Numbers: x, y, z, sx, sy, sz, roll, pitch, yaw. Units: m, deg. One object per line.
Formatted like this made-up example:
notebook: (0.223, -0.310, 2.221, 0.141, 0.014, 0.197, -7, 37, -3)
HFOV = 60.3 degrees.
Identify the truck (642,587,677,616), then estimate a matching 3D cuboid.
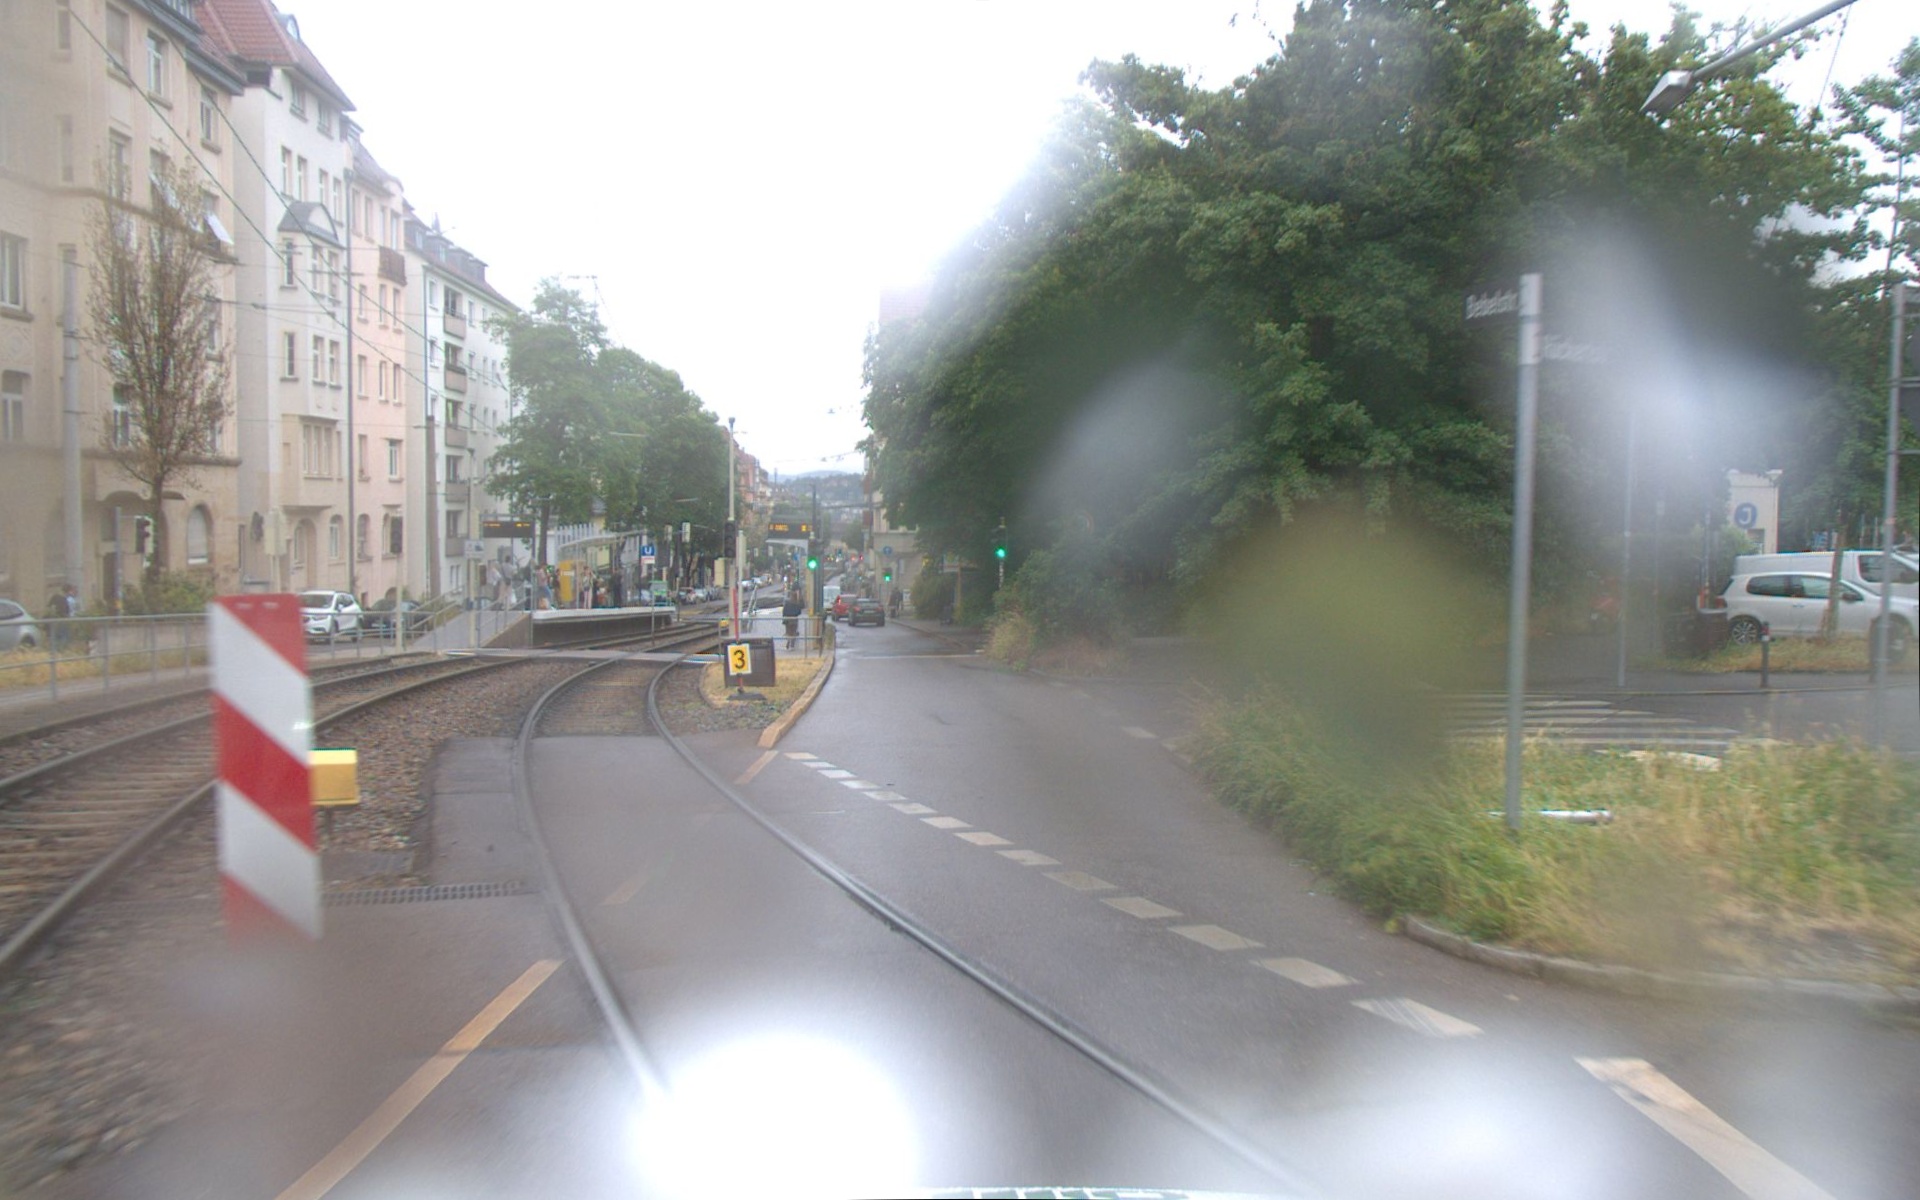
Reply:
truck: (-25.787, 0.128, 142.078, 2.009, 2.435, 6.319, 0, 0, -1)

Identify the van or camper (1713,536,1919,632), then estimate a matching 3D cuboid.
van or camper: (18.721, -0.317, 34.544, 5.085, 1.866, 1.989, -2, -1, 40)

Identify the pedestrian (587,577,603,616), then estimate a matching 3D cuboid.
pedestrian: (-15.776, -0.142, 71.464, 0.582, 1.695, 0.591, -1, -1, -4)

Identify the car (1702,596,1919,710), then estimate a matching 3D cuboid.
car: (17.079, 0.999, 32.342, 4.417, 2.049, 1.993, 1, -1, 35)

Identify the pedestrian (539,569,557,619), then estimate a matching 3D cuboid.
pedestrian: (-15.726, -0.233, 63.139, 0.506, 1.870, 0.761, -1, -1, -4)

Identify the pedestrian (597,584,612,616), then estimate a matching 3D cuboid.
pedestrian: (-16.028, -0.003, 74.633, 0.539, 1.438, 0.613, -1, -1, -4)

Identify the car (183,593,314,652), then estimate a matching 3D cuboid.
car: (-20.427, 0.679, 47.709, 1.954, 1.560, 4.529, 3, -2, -3)

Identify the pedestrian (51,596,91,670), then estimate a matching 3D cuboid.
pedestrian: (-19.048, 0.699, 35.441, 0.510, 1.558, 0.620, 0, -1, -3)

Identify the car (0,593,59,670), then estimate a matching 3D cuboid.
car: (-19.194, 0.592, 31.537, 1.683, 1.467, 4.863, 0, 0, -5)

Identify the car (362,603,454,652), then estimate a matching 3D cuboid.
car: (-20.729, 1.028, 62.297, 1.953, 1.762, 4.812, -1, -1, -2)

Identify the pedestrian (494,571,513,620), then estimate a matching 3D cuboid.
pedestrian: (-15.269, -0.151, 55.316, 0.506, 1.633, 0.562, -1, -1, -4)

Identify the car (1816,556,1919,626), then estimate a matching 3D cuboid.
car: (24.070, -0.231, 42.082, 3.827, 1.713, 1.731, -2, -1, 37)

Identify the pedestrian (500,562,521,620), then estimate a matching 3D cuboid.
pedestrian: (-14.879, -0.289, 54.771, 0.550, 1.882, 0.598, -1, -1, -4)

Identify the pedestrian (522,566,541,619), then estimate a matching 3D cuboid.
pedestrian: (-15.440, -0.269, 59.614, 0.506, 1.870, 0.761, -1, -1, -4)

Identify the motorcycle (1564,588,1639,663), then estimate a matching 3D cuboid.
motorcycle: (12.919, 0.512, 33.283, 0.808, 1.399, 2.422, 5, 2, 34)

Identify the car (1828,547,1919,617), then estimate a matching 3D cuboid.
car: (25.273, -0.480, 43.684, 3.923, 1.802, 1.839, 1, 1, 38)

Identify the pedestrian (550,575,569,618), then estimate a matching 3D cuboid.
pedestrian: (-15.893, -0.121, 65.667, 0.582, 1.695, 0.761, -1, -1, -4)

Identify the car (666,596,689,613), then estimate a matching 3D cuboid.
car: (-26.600, 0.422, 155.964, 1.738, 1.478, 4.251, -1, 0, -4)

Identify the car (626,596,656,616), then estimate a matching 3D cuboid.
car: (-25.442, 0.465, 131.922, 1.691, 1.542, 4.493, 0, 1, -3)

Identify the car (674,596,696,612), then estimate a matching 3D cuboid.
car: (-27.082, 0.370, 163.189, 1.738, 1.573, 4.251, -1, 0, -4)

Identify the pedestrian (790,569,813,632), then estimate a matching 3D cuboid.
pedestrian: (-4.623, 0.010, 48.355, 0.637, 1.815, 0.847, 0, 0, -4)

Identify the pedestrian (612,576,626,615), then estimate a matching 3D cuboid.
pedestrian: (-15.650, -0.218, 75.921, 0.539, 1.772, 0.613, -1, -1, -4)

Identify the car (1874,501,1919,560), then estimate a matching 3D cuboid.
car: (30.684, -2.139, 51.247, 3.923, 1.802, 1.839, 1, 1, 38)

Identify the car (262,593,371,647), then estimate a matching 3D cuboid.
car: (-20.681, 0.620, 53.333, 1.884, 1.651, 4.533, -1, 0, -3)

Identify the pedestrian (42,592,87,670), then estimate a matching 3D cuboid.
pedestrian: (-18.816, 0.654, 34.752, 0.612, 1.621, 0.620, 0, -1, -3)

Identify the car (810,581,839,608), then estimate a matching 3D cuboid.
car: (-9.445, -0.366, 115.410, 1.911, 1.824, 4.139, 1, 0, -6)

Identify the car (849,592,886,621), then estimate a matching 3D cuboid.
car: (-4.961, 0.334, 88.092, 1.816, 1.499, 3.996, 0, 0, -5)

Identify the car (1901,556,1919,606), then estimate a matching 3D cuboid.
car: (36.051, -0.663, 59.182, 3.923, 1.802, 1.839, 1, 1, 38)

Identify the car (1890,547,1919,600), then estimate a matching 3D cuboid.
car: (34.204, -0.894, 56.595, 3.923, 1.802, 1.839, 1, 1, 38)

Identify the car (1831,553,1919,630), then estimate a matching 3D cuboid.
car: (22.234, -0.220, 37.843, 3.827, 1.713, 1.731, -2, -1, 37)

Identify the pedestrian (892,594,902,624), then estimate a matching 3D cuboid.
pedestrian: (-3.905, 0.557, 102.008, 0.543, 1.845, 0.650, 1, 0, -7)

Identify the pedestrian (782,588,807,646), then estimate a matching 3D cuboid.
pedestrian: (-4.524, 0.465, 45.334, 0.637, 1.590, 0.683, 0, 0, -4)
